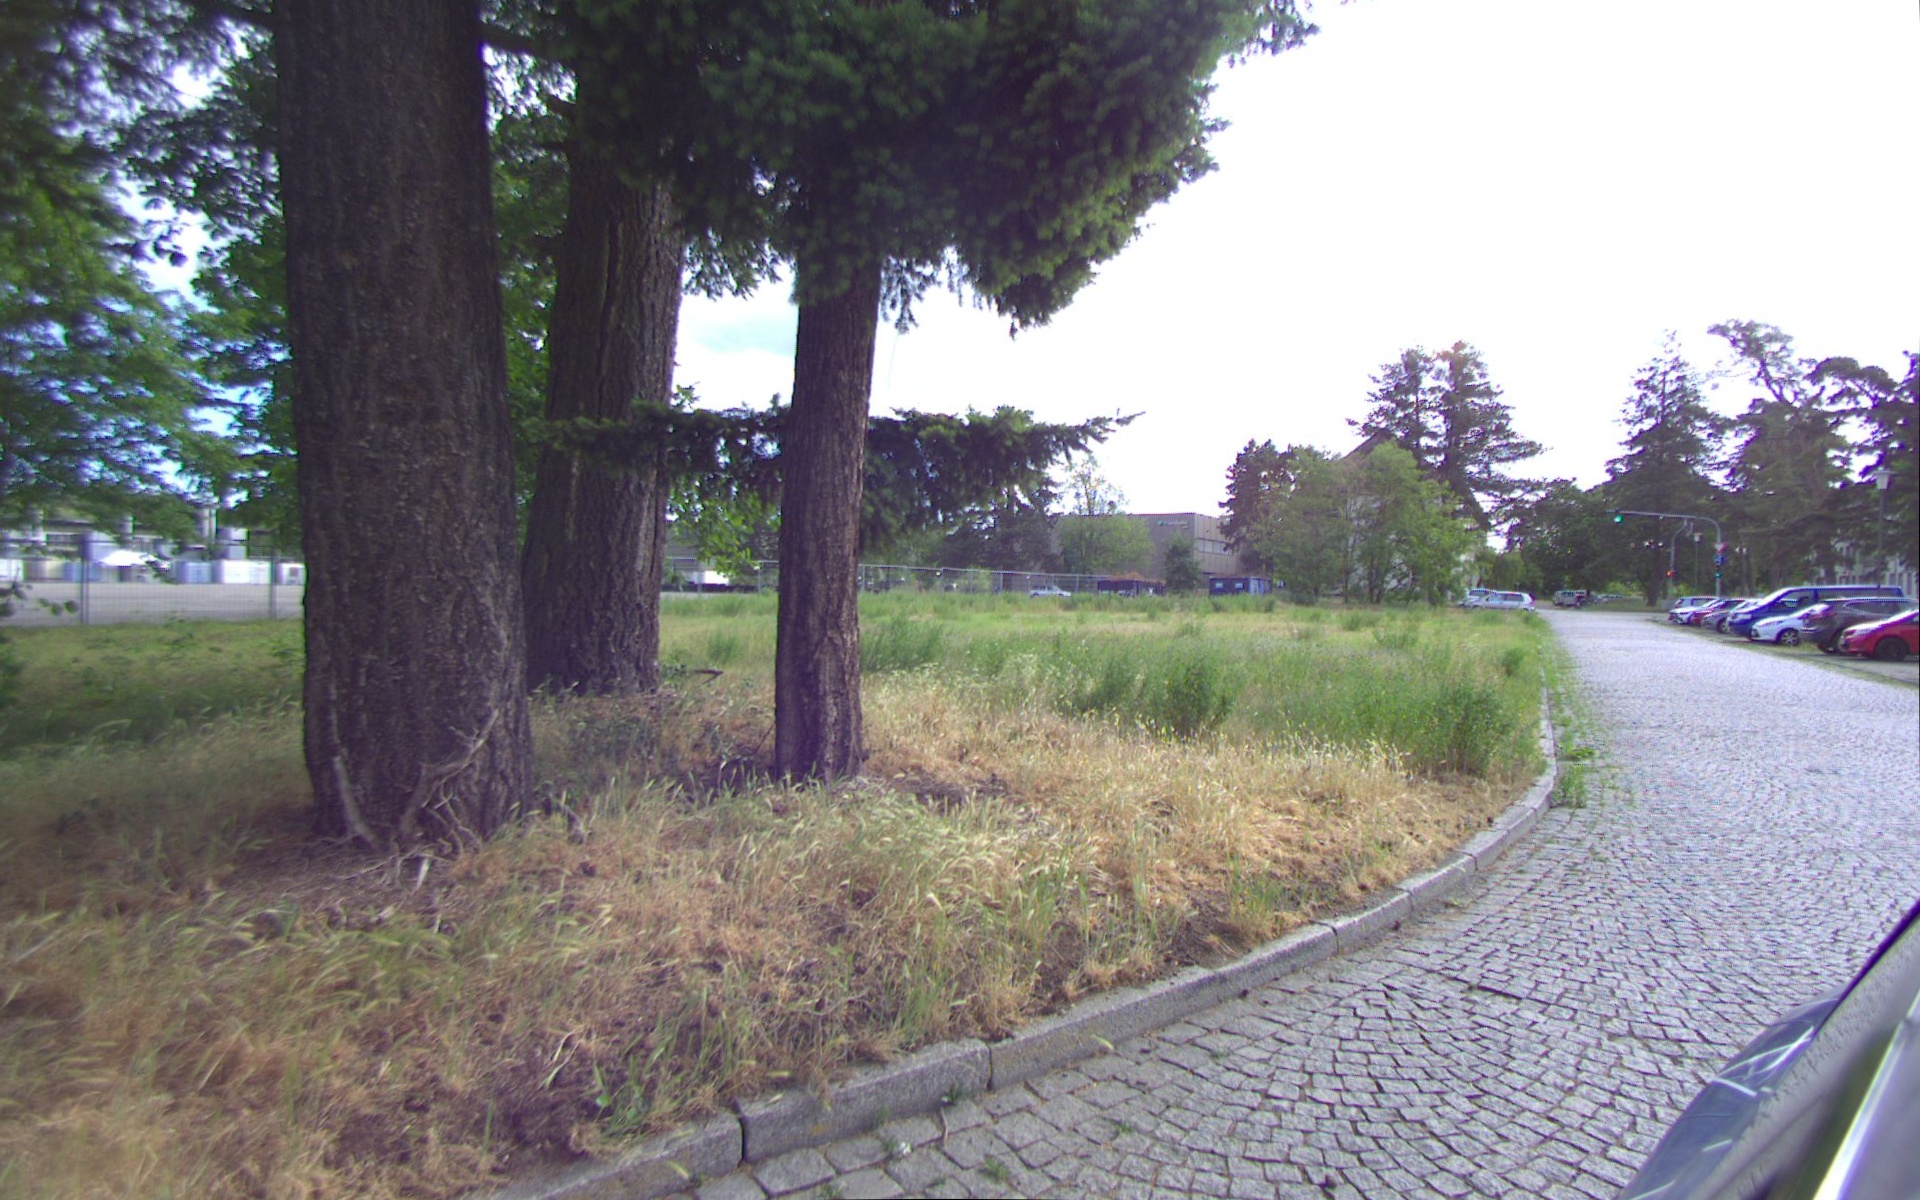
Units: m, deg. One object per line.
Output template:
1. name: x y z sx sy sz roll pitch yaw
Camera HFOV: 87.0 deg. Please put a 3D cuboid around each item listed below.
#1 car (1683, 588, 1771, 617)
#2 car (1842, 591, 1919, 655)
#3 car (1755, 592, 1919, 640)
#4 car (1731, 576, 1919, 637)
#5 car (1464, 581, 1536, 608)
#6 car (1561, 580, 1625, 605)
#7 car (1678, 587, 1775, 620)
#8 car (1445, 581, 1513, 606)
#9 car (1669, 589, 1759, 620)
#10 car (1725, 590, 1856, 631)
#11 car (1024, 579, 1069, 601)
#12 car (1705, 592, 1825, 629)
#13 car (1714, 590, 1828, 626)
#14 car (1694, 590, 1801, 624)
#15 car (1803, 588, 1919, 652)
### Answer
1. car: 41.652 0.139 55.009 3.413 1.450 1.617 -2 0 21
2. car: 24.203 0.573 24.570 3.922 1.539 1.688 1 0 31
3. car: 28.270 0.523 32.603 3.897 1.410 1.725 -2 0 29
4. car: 29.739 0.232 34.763 4.792 1.889 2.140 -2 0 29
5. car: 31.826 -0.333 59.773 3.695 1.456 1.612 -1 1 27
6. car: 71.462 -0.866 114.450 5.738 2.595 2.746 -2 0 26
7. car: 38.347 0.176 50.710 3.532 1.506 1.591 -2 0 23
8. car: 33.308 -0.417 65.015 3.689 1.456 1.614 -1 0 23
9. car: 39.568 0.252 53.219 3.540 1.476 1.611 -2 0 28
10. car: 32.463 0.406 39.661 3.560 1.472 1.674 -2 0 24
11. car: 8.037 -0.925 94.299 3.692 1.928 2.003 2 -1 -10
12. car: 33.356 0.422 42.057 3.560 1.438 1.606 -1 1 24
13. car: 35.538 0.354 44.438 3.533 1.452 1.594 -2 0 24
14. car: 36.332 0.324 46.782 3.533 1.434 1.625 -2 0 24
15. car: 25.294 0.531 27.058 3.883 1.623 1.803 1 1 28
